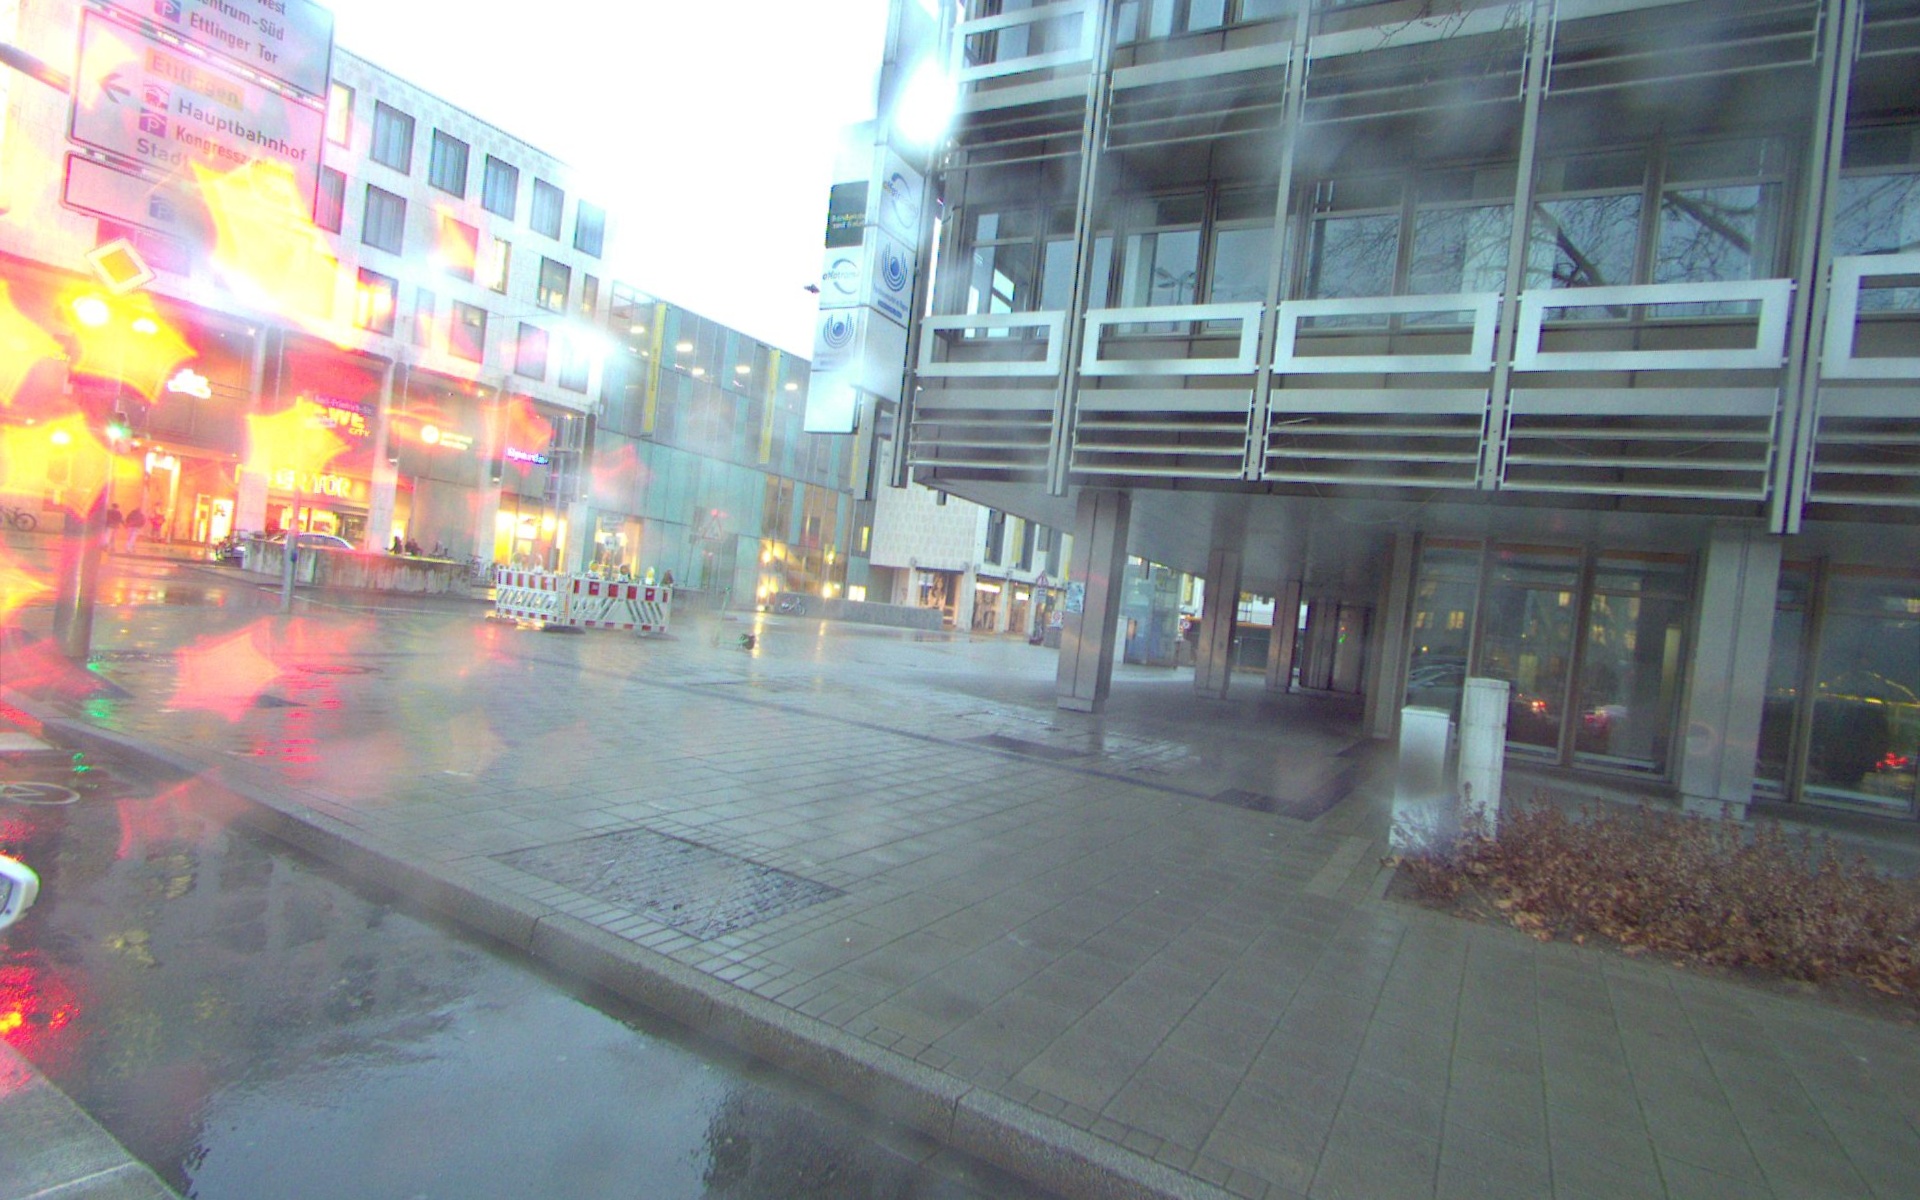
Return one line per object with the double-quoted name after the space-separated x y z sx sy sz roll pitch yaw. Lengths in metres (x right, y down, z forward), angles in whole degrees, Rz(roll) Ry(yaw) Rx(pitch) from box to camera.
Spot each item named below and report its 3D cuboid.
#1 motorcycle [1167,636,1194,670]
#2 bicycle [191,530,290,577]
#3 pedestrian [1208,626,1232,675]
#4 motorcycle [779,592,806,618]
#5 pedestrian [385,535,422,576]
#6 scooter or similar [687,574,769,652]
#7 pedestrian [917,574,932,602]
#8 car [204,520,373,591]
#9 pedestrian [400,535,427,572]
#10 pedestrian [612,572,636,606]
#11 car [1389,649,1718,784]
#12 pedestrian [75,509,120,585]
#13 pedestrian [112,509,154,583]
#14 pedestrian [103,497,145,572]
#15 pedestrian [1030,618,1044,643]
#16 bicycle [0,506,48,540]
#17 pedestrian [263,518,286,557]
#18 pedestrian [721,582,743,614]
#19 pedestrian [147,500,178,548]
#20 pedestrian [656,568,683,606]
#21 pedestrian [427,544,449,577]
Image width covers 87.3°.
9.696 2.345 44.231 0.584 1.368 1.493 7 -1 29 "motorcycle"
-26.342 -1.686 36.882 0.941 1.375 2.718 6 -1 28 "bicycle"
9.968 1.954 38.566 0.678 1.796 0.660 7 -1 16 "pedestrian"
-10.161 0.291 61.205 0.585 1.368 1.491 7 -1 36 "motorcycle"
-25.662 -2.049 46.413 0.810 1.703 1.032 6 -1 31 "pedestrian"
-4.673 0.263 20.226 1.470 1.368 0.593 7 -1 32 "scooter or similar"
-2.259 -0.781 64.125 0.573 1.703 0.542 6 -1 38 "pedestrian"
-21.728 -1.413 32.701 1.968 1.636 3.994 6 -2 33 "car"
-26.508 -2.248 48.773 0.519 1.705 0.894 6 0 31 "pedestrian"
-18.458 -0.601 55.247 0.770 1.703 0.742 6 -1 38 "pedestrian"
8.815 1.646 15.186 3.935 1.327 1.994 6 1 33 "car"
-29.212 -1.792 34.082 0.745 2.469 0.716 7 -1 31 "pedestrian"
-29.191 -1.916 35.506 0.778 2.477 0.694 7 -1 32 "pedestrian"
-28.931 -2.249 34.821 0.745 2.469 0.691 7 -1 31 "pedestrian"
5.611 2.217 73.334 0.573 1.703 0.542 6 -1 38 "pedestrian"
-36.354 -2.971 38.731 0.515 1.082 1.651 7 -2 28 "bicycle"
-32.959 -2.991 48.368 0.729 1.740 0.733 6 1 -31 "pedestrian"
-13.091 -0.138 57.696 0.770 1.703 0.742 6 -1 38 "pedestrian"
-36.056 -3.442 45.472 0.688 2.039 0.845 7 1 40 "pedestrian"
-13.776 -0.616 47.764 0.770 1.703 0.742 6 -1 38 "pedestrian"
-24.986 -1.893 48.150 0.511 1.512 0.586 6 0 34 "pedestrian"
